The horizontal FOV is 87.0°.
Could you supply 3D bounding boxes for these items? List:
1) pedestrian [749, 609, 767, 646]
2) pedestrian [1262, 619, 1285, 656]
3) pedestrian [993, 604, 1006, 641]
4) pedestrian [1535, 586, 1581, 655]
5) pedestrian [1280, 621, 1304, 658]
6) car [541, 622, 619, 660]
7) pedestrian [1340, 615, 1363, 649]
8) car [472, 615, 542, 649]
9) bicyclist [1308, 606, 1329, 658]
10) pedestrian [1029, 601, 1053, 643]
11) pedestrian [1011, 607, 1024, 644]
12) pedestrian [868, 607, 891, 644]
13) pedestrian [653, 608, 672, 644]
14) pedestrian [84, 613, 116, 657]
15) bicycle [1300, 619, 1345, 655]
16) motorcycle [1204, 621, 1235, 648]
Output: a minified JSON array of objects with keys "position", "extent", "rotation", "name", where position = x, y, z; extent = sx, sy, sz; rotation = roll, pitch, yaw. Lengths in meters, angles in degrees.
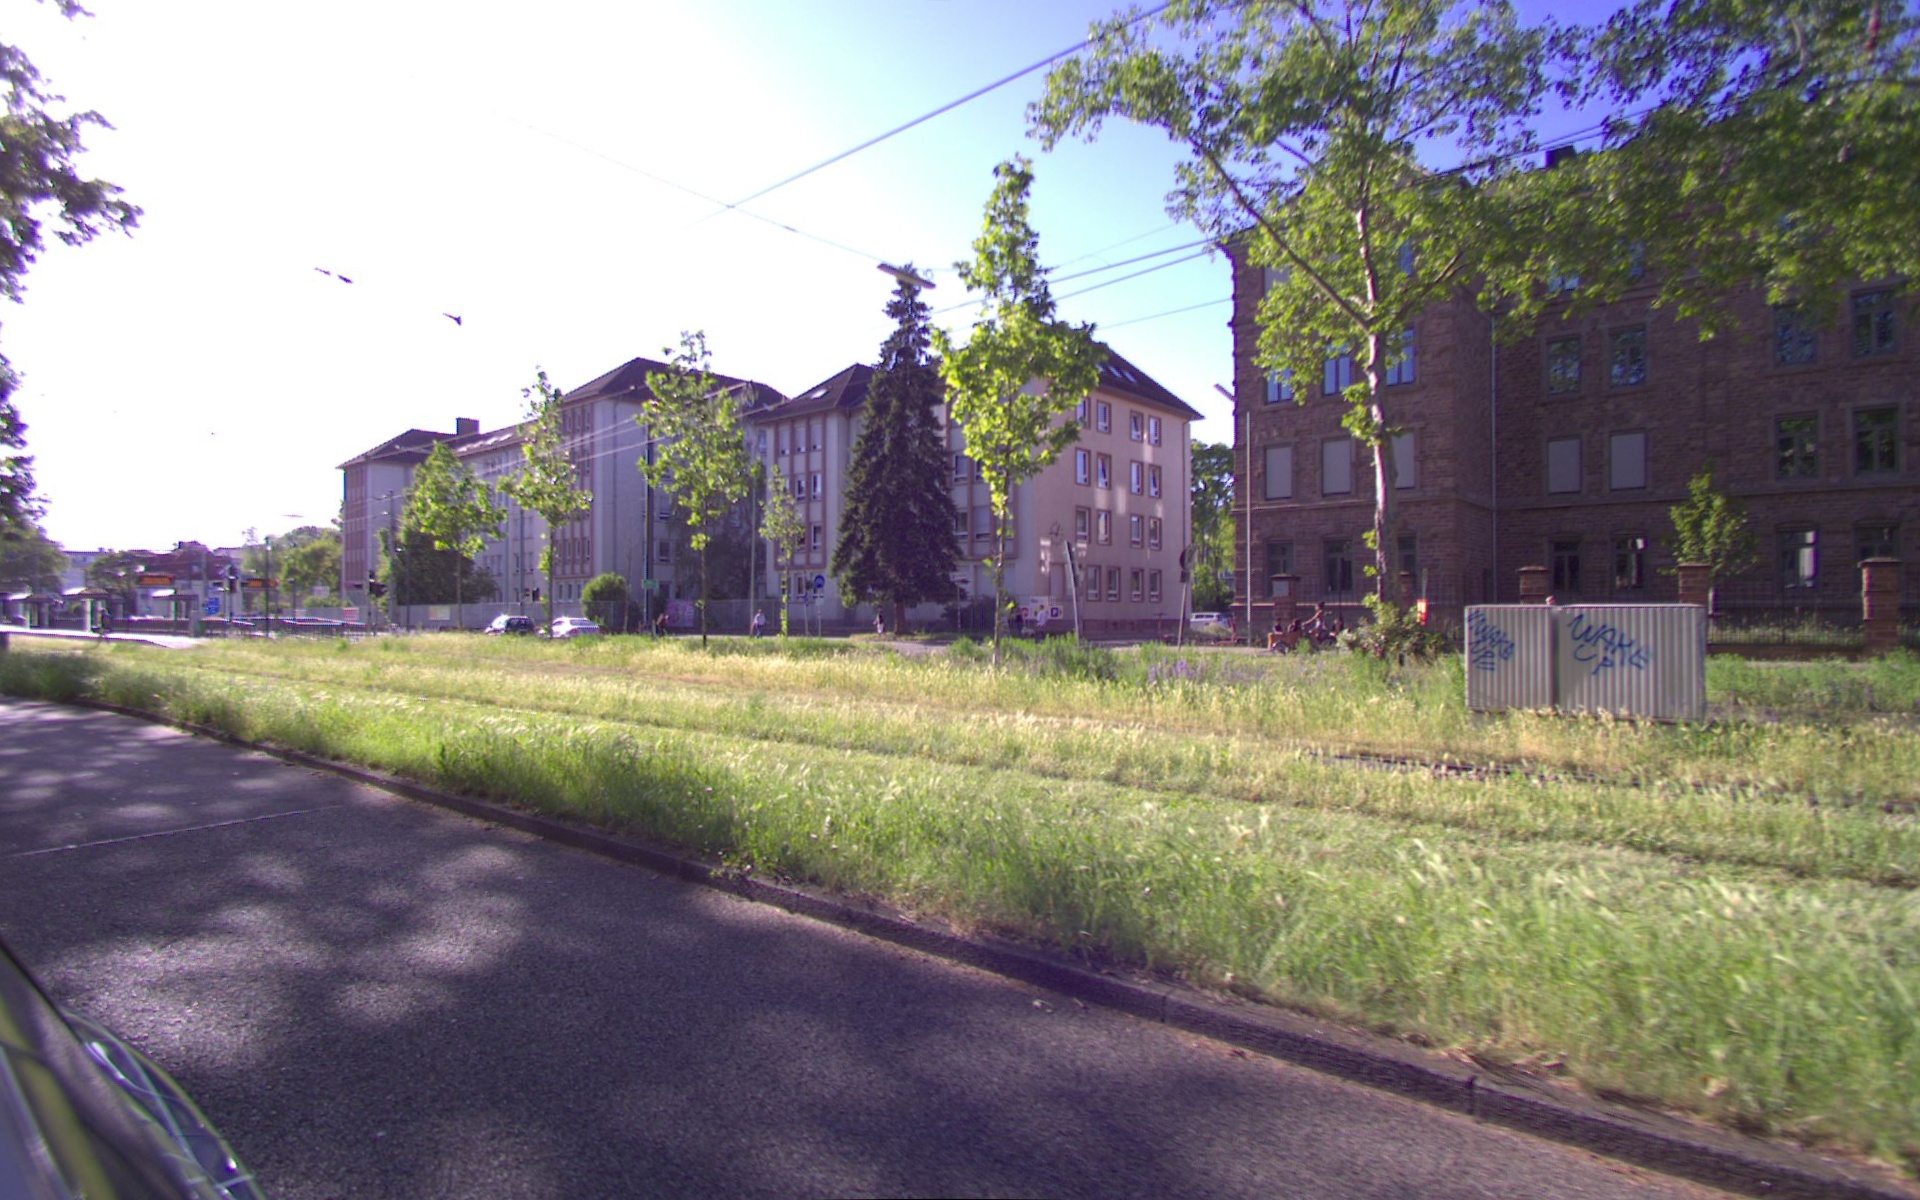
[{"position":[-10.196,1.377,51.095],"extent":[0.572,1.851,0.685],"rotation":[-2,-1,40],"name":"pedestrian"},{"position":[9.630,1.151,31.040],"extent":[0.478,1.108,0.580],"rotation":[-2,-2,39],"name":"pedestrian"},{"position":[1.839,1.069,47.510],"extent":[0.371,1.708,0.449],"rotation":[0,-1,-43],"name":"pedestrian"},{"position":[16.952,0.570,28.685],"extent":[0.942,1.914,0.891],"rotation":[-2,-2,42],"name":"pedestrian"},{"position":[10.051,1.191,30.628],"extent":[0.586,1.108,0.439],"rotation":[-2,-2,36],"name":"pedestrian"},{"position":[-17.404,1.818,46.240],"extent":[1.744,1.634,4.480],"rotation":[0,-1,-43],"name":"car"},{"position":[12.866,1.054,33.251],"extent":[0.586,1.108,0.440],"rotation":[-2,-2,37],"name":"pedestrian"},{"position":[-23.589,1.646,52.615],"extent":[4.151,1.720,1.971],"rotation":[-2,-1,45],"name":"car"},{"position":[10.671,0.948,30.135],"extent":[0.501,1.510,0.450],"rotation":[-1,-2,31],"name":"bicyclist"},{"position":[3.344,0.910,41.900],"extent":[0.875,1.708,0.679],"rotation":[-1,-1,13],"name":"pedestrian"},{"position":[2.711,1.202,47.577],"extent":[0.371,1.708,0.449],"rotation":[0,-1,-43],"name":"pedestrian"},{"position":[-3.753,1.207,47.277],"extent":[0.819,1.708,0.677],"rotation":[-1,-1,22],"name":"pedestrian"},{"position":[-16.691,1.459,56.698],"extent":[0.860,2.029,0.656],"rotation":[-2,-1,40],"name":"pedestrian"},{"position":[-34.979,1.429,41.168],"extent":[0.730,1.749,0.942],"rotation":[-2,-2,43],"name":"pedestrian"},{"position":[10.770,1.096,30.075],"extent":[1.172,1.076,0.458],"rotation":[-1,-1,32],"name":"bicycle"},{"position":[9.247,1.223,36.075],"extent":[1.043,0.953,0.331],"rotation":[-1,-1,37],"name":"motorcycle"}]
